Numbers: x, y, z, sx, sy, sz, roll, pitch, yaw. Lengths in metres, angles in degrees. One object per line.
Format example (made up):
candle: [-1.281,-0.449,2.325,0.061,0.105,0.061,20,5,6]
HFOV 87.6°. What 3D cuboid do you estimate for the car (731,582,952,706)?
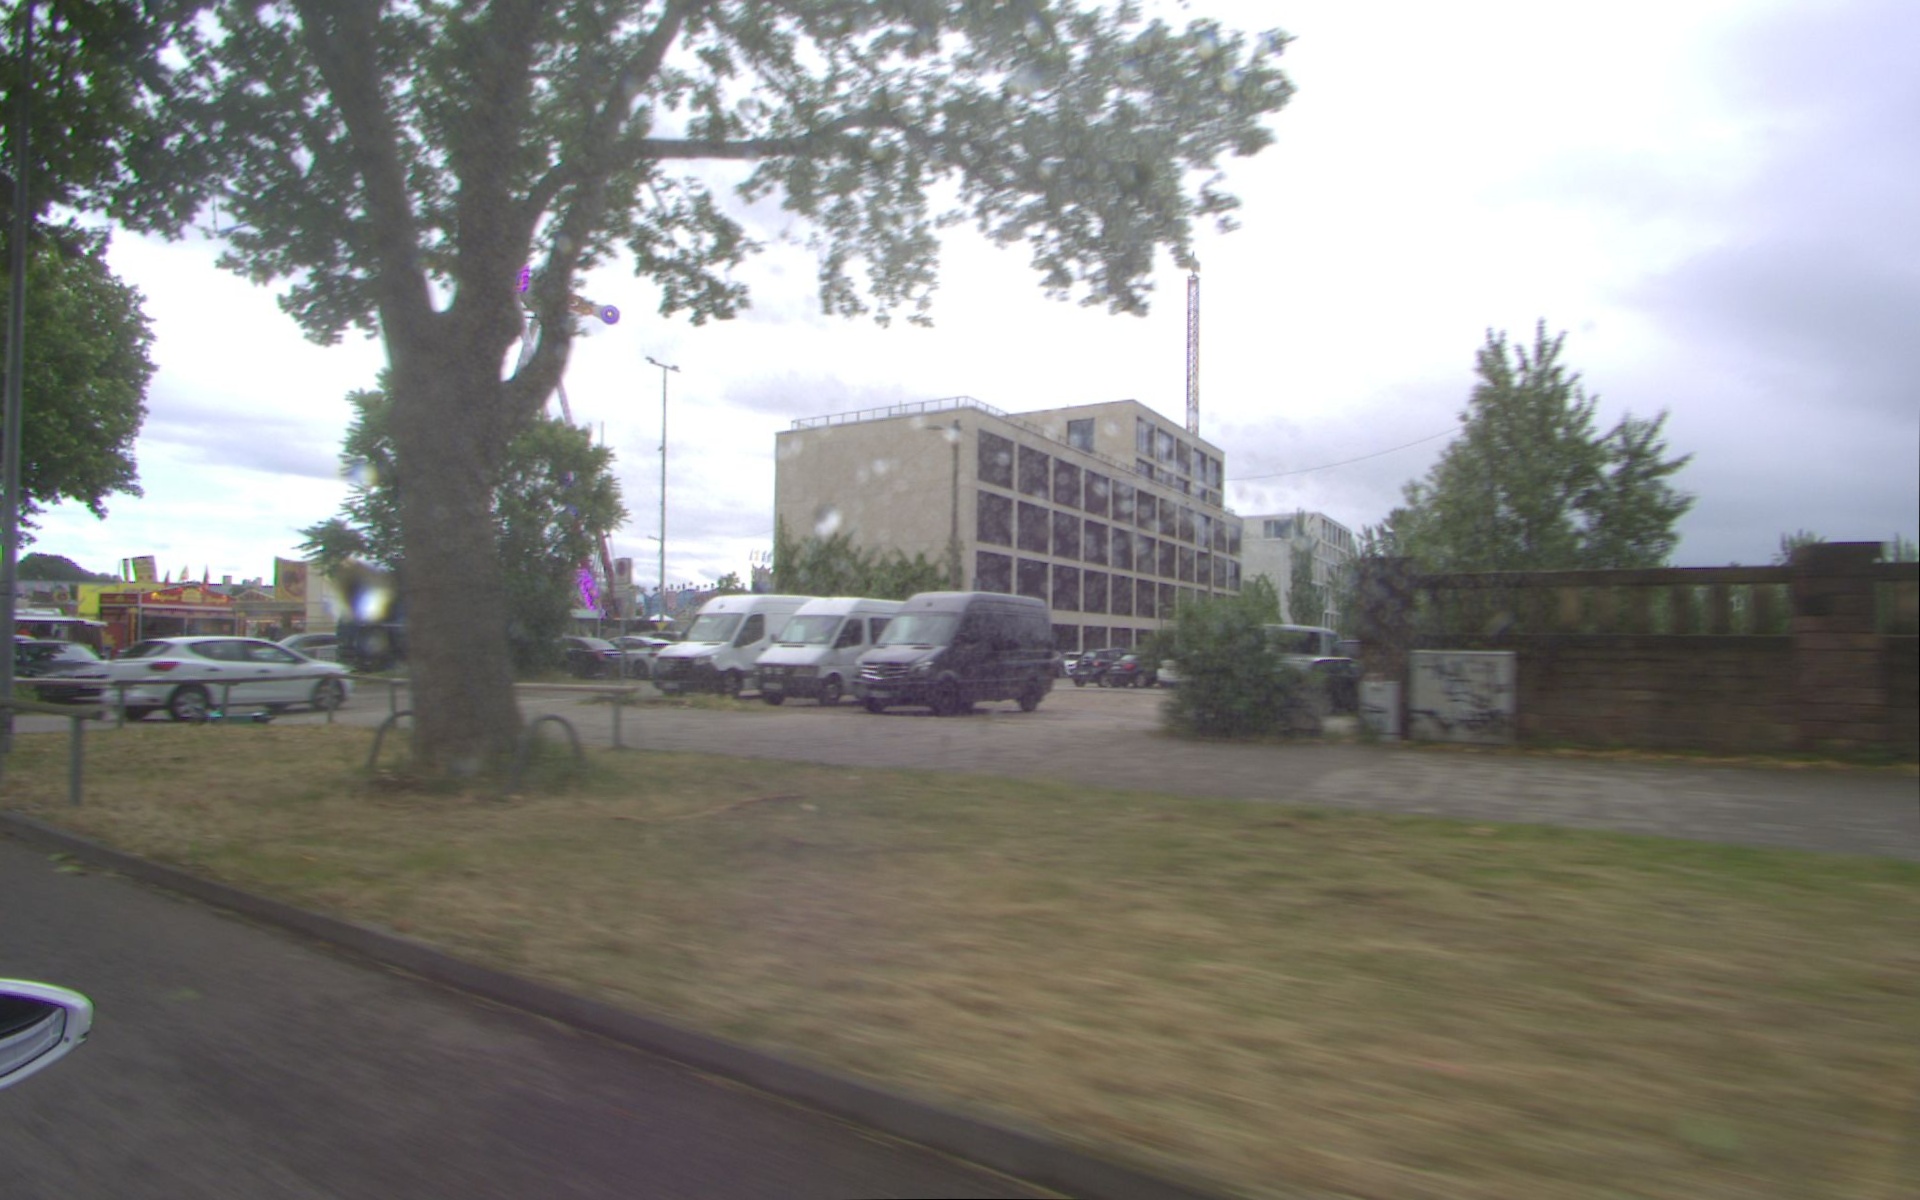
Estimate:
car: [-2.583,1.158,23.693,2.010,2.565,5.781,-1,-5,32]

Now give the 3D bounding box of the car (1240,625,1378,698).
car: [12.196,2.120,34.970,4.654,2.373,1.991,2,-2,-29]

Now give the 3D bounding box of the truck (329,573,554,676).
truck: [-21.257,1.113,41.693,2.562,3.870,8.182,-1,-3,31]

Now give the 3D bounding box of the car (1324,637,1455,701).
car: [14.071,2.226,32.783,3.943,1.972,1.991,2,-2,-29]

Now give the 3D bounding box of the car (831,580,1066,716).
car: [-0.030,1.130,21.750,2.141,2.552,5.776,0,-4,34]

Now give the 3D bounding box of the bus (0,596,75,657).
bus: [-49.049,1.250,48.360,1.970,2.997,9.271,-1,-3,30]

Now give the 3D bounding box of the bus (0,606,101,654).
bus: [-46.244,1.386,46.664,1.970,2.255,9.271,-1,-3,30]

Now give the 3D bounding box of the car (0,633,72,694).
car: [-26.598,1.731,27.921,3.946,1.614,1.859,-1,-3,35]

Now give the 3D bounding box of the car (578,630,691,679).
car: [-12.283,2.040,37.719,3.940,1.665,1.884,1,-2,31]

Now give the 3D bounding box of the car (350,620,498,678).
car: [-20.116,1.791,37.808,1.970,2.040,4.567,0,-1,31]

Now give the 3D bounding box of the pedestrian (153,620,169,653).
pedestrian: [-41.643,1.888,52.199,0.516,1.708,0.492,-1,-2,30]

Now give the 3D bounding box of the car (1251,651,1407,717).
car: [9.557,2.102,25.849,3.952,1.538,1.986,2,-3,-37]

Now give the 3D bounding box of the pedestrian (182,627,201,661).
pedestrian: [-39.063,2.219,50.898,0.485,1.708,0.523,0,-2,16]

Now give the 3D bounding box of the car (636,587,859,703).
car: [-5.210,1.156,25.622,2.069,2.587,6.017,-1,-3,30]

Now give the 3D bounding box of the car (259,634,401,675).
car: [-25.884,2.221,41.294,1.971,1.595,4.568,-1,-3,31]

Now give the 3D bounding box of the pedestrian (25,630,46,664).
pedestrian: [-40.578,2.048,43.953,0.516,1.481,0.492,-1,-2,30]

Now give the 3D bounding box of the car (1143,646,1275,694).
car: [9.137,2.532,36.667,4.654,1.670,1.991,2,-3,-29]

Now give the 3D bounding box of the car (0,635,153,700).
car: [-21.464,1.567,24.033,3.938,1.448,1.862,-1,-3,28]

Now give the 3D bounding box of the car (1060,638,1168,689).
car: [6.229,2.542,40.522,3.943,1.972,1.991,2,-2,-29]

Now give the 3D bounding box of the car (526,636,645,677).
car: [-13.360,2.012,35.697,3.941,1.365,1.885,-1,-5,31]

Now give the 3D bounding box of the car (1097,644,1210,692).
car: [7.451,2.577,38.494,3.943,1.727,1.991,2,-3,-29]

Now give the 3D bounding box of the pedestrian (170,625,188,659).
pedestrian: [-38.986,2.103,49.988,0.485,1.708,0.523,0,-2,16]

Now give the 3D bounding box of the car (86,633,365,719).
car: [-14.039,1.412,19.432,1.859,1.471,3.993,-1,-3,21]

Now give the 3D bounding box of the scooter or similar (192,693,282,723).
scooter or similar: [-12.266,1.824,17.045,1.165,0.353,1.323,1,-1,-33]
